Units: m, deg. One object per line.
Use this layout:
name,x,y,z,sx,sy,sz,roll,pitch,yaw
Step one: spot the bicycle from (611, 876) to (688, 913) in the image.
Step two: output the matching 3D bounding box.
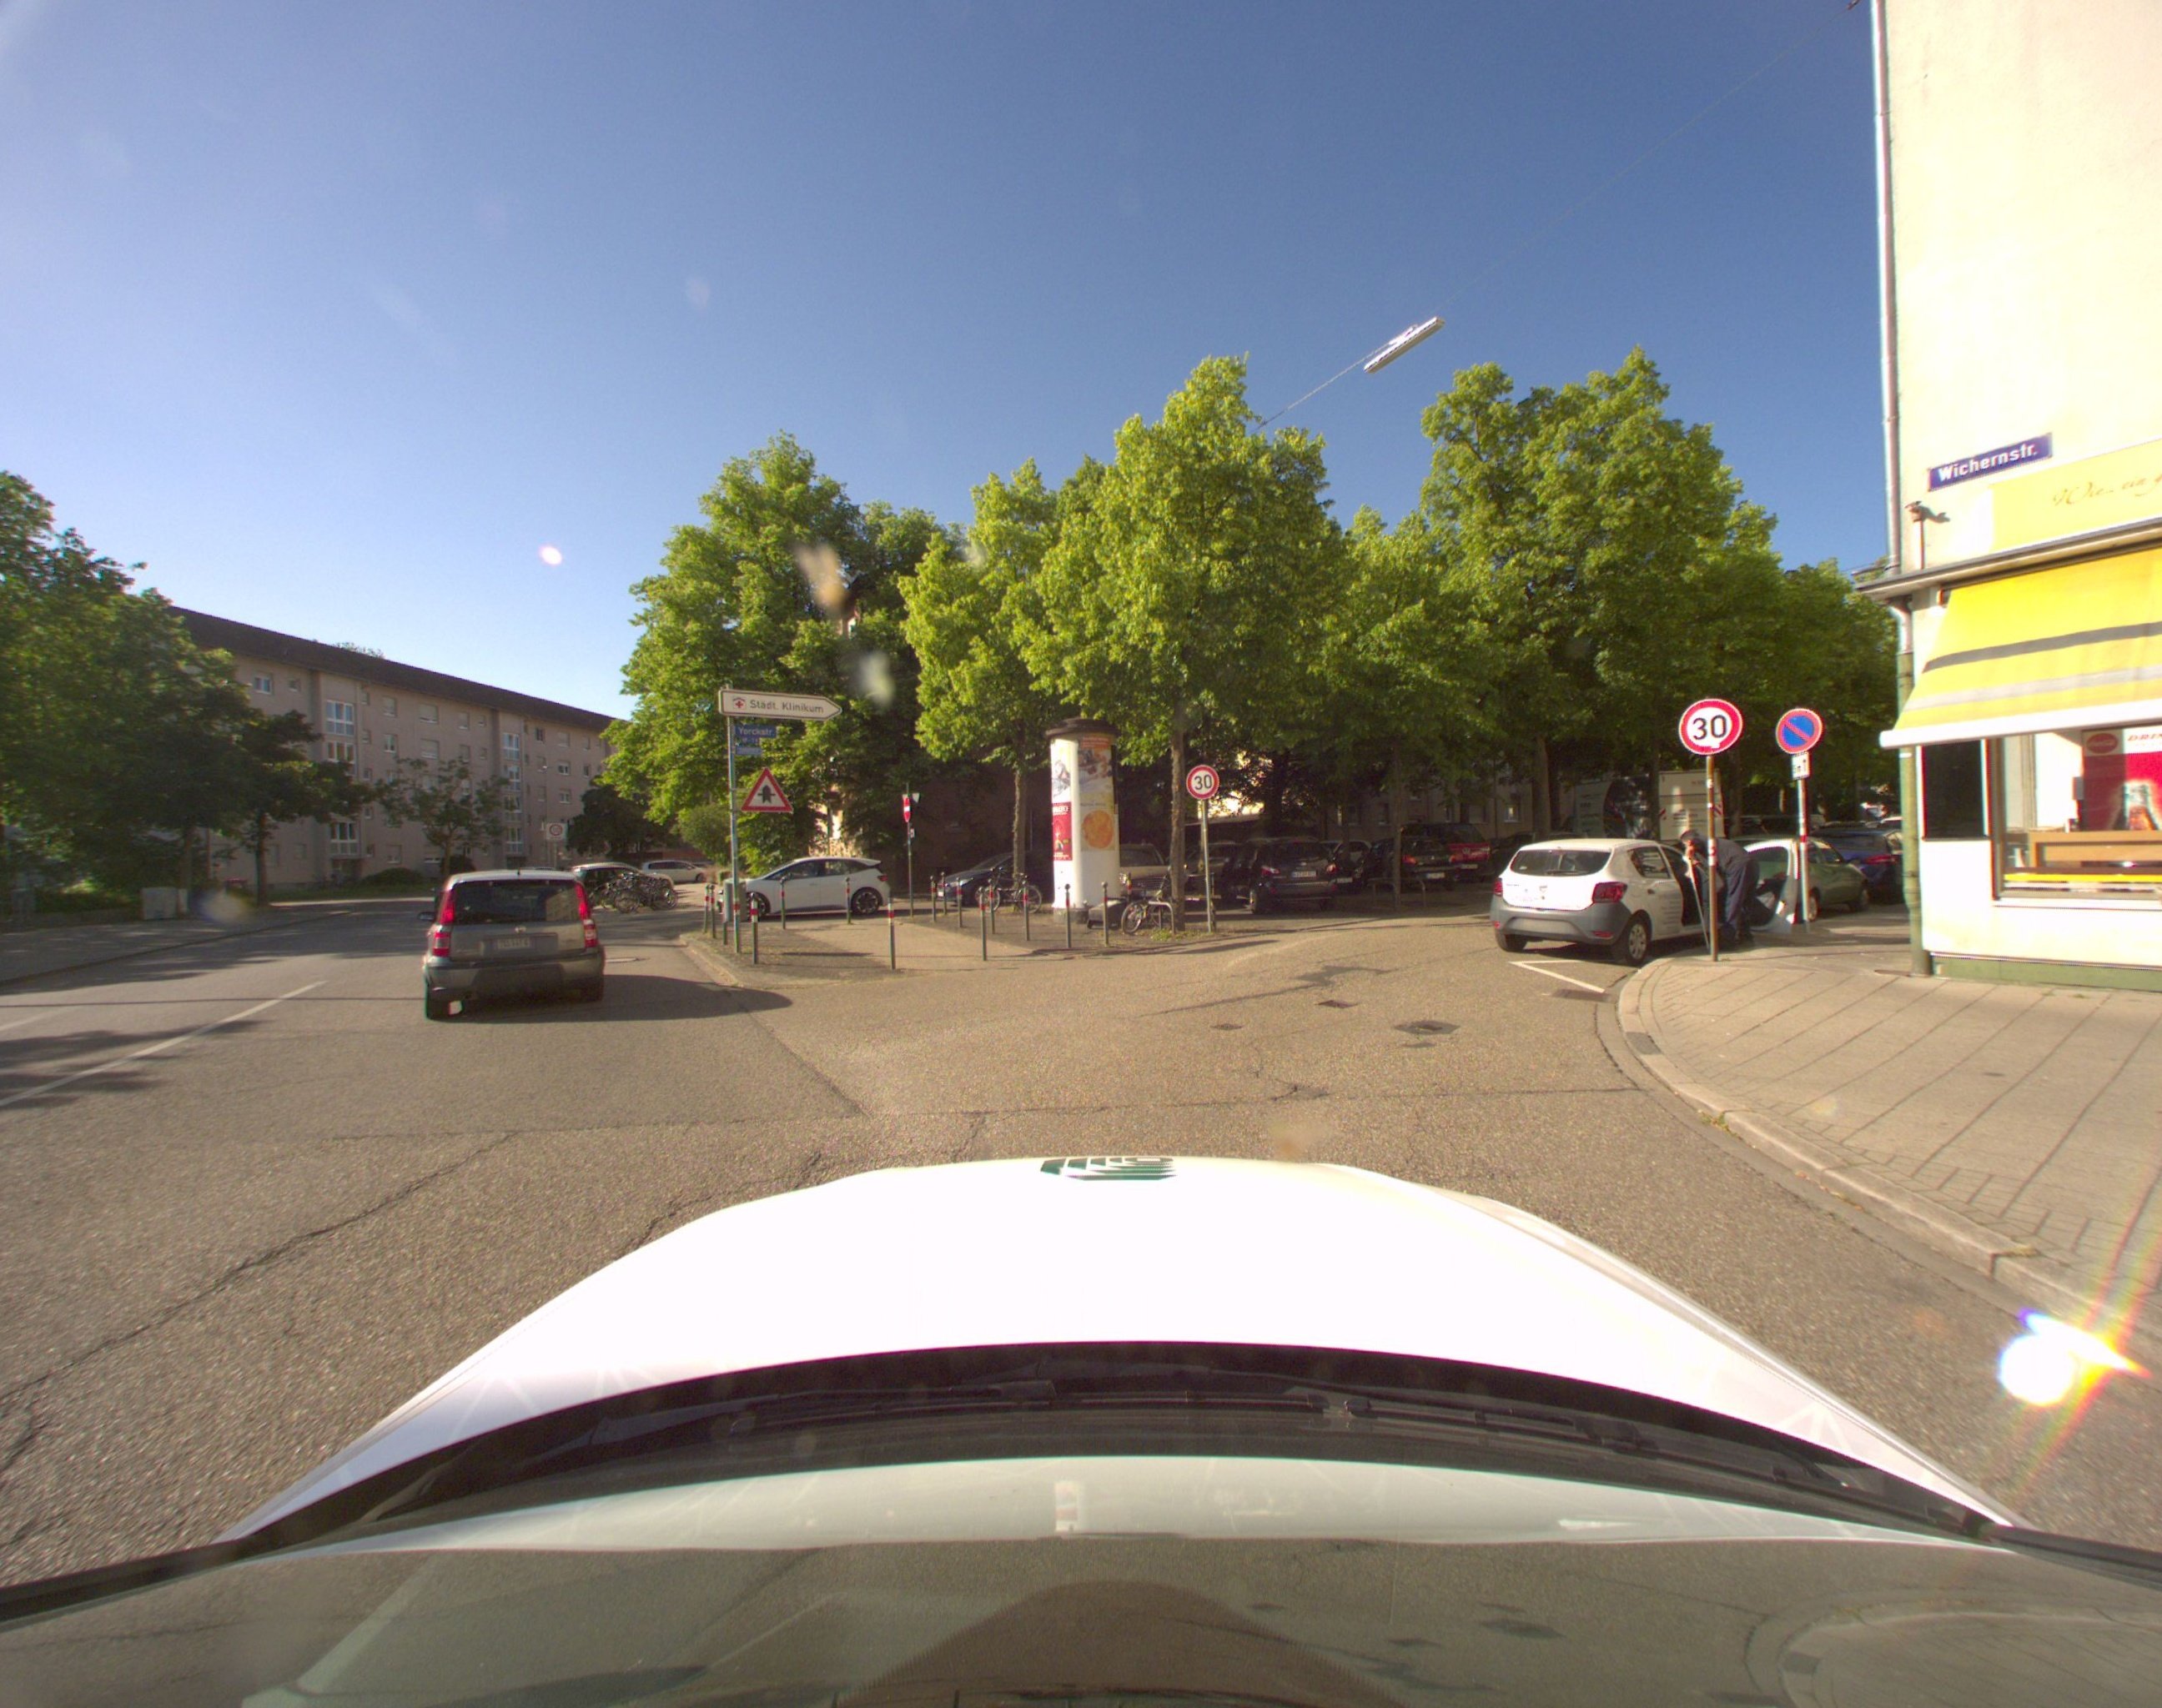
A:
bicycle,-13.781,1.286,26.048,2.045,1.031,0.564,-3,0,-41

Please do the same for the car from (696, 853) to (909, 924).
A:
car,-7.224,0.826,21.241,5.047,1.518,1.907,-2,0,-26

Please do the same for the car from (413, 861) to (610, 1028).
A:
car,-6.778,0.914,9.730,1.629,1.561,3.221,-2,0,-36

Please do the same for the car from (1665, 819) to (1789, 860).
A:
car,25.750,-0.572,32.677,1.722,1.506,4.108,-1,1,0

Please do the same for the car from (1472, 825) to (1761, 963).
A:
car,7.343,0.430,11.082,4.036,1.497,1.707,-2,0,-31

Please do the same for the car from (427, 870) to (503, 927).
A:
car,-18.532,1.285,24.567,1.692,1.508,3.716,-2,0,-37

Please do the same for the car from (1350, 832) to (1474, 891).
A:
car,9.148,0.178,22.841,1.752,1.481,3.819,-2,0,-3

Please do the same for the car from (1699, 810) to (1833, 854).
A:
car,31.267,-0.984,37.369,2.072,1.864,4.514,-2,1,-7

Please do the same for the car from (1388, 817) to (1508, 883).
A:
car,11.594,-0.131,26.116,1.922,1.873,4.506,-2,1,2

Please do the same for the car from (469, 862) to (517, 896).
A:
car,-28.826,1.194,40.007,1.690,1.508,3.559,-2,0,-32

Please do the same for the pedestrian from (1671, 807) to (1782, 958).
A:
pedestrian,7.763,0.316,9.807,0.747,1.722,0.755,-2,0,-26

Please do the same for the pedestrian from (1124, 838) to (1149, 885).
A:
pedestrian,2.119,0.289,31.218,0.542,1.735,0.734,-2,0,-36

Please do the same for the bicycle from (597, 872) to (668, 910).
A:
bicycle,-15.593,1.257,28.332,2.045,1.177,0.660,-3,0,-41

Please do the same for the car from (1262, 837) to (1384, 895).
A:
car,6.640,0.295,22.832,1.814,1.422,3.939,-2,1,-7

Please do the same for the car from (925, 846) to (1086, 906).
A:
car,-2.187,0.592,24.046,4.315,1.518,1.890,-2,0,-32

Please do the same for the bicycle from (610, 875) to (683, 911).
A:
bicycle,-14.356,1.284,26.931,2.045,1.031,0.443,-3,0,-41

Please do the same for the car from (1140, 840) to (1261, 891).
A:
car,4.010,0.336,27.056,3.969,1.486,1.739,-2,1,-39

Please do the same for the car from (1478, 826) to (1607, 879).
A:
car,14.628,-0.067,26.121,1.801,1.507,4.346,-2,1,2

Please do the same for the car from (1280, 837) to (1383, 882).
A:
car,9.403,0.173,30.485,3.969,1.486,1.739,-2,1,-39

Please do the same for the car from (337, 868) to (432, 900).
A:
car,-45.372,1.941,53.107,4.393,1.798,2.070,-2,0,3

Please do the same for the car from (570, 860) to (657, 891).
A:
car,-24.943,1.144,43.539,1.600,1.481,3.616,-2,0,33

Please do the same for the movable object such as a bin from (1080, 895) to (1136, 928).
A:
movable object such as a bin,0.548,1.135,16.242,0.570,0.565,1.121,-2,0,37

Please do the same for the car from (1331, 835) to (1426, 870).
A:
car,13.642,-0.083,37.239,4.359,1.435,1.752,-2,1,-32

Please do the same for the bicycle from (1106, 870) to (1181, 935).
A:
bicycle,1.177,0.869,15.029,1.601,1.072,0.349,-2,0,-43

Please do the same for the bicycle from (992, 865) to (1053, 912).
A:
bicycle,-1.419,0.832,19.997,1.601,1.072,0.349,-2,0,-43

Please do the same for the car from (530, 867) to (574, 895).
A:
car,-31.225,1.562,48.150,1.687,1.508,3.565,-2,0,-26

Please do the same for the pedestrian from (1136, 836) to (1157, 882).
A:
pedestrian,2.557,0.193,32.039,0.737,1.735,0.540,-2,0,1

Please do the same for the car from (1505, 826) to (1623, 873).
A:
car,17.257,-0.176,29.369,1.801,1.507,4.346,-2,1,2

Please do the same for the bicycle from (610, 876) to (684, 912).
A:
bicycle,-14.105,1.275,26.503,2.045,1.031,0.463,-3,0,-41

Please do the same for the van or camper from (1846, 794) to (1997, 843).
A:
van or camper,56.562,-2.298,55.103,2.302,2.929,7.237,-2,0,-5

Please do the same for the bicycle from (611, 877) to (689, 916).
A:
bicycle,-13.426,1.306,25.432,2.045,1.031,0.564,-3,0,-41

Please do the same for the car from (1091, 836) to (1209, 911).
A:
car,1.594,0.440,20.402,1.917,1.610,3.985,-2,0,-11

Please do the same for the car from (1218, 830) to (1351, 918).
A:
car,4.526,0.339,18.764,1.826,1.671,4.335,-2,2,-2

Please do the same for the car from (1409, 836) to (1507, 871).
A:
car,16.044,-0.019,34.606,4.433,1.294,1.750,-2,-1,-36

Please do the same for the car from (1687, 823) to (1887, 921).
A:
car,12.402,0.251,14.262,3.685,1.463,1.586,-2,0,-32

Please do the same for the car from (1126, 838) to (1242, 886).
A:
car,3.930,0.270,30.831,4.264,1.640,1.741,-2,1,-34

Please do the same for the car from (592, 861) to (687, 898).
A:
car,-19.589,1.110,36.244,1.600,1.481,3.278,-2,0,33

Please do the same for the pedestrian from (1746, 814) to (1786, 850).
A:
pedestrian,27.305,-0.860,32.479,0.923,1.396,0.753,-2,0,-1

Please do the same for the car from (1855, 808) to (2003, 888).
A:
car,20.754,-0.193,19.888,4.528,1.753,1.749,-2,0,-34

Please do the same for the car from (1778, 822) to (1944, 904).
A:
car,16.341,0.128,16.996,4.461,1.463,1.788,-2,1,-37

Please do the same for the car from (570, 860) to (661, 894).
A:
car,-23.445,1.144,41.090,1.600,1.481,3.616,-2,0,33

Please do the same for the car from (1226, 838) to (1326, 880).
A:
car,8.128,0.197,33.820,3.963,1.569,1.742,-2,1,-32

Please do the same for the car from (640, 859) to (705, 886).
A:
car,-25.899,1.162,51.766,3.600,1.481,1.607,-2,0,-27

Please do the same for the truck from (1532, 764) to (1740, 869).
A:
truck,19.925,-1.227,29.909,2.531,3.293,7.324,-2,0,0
